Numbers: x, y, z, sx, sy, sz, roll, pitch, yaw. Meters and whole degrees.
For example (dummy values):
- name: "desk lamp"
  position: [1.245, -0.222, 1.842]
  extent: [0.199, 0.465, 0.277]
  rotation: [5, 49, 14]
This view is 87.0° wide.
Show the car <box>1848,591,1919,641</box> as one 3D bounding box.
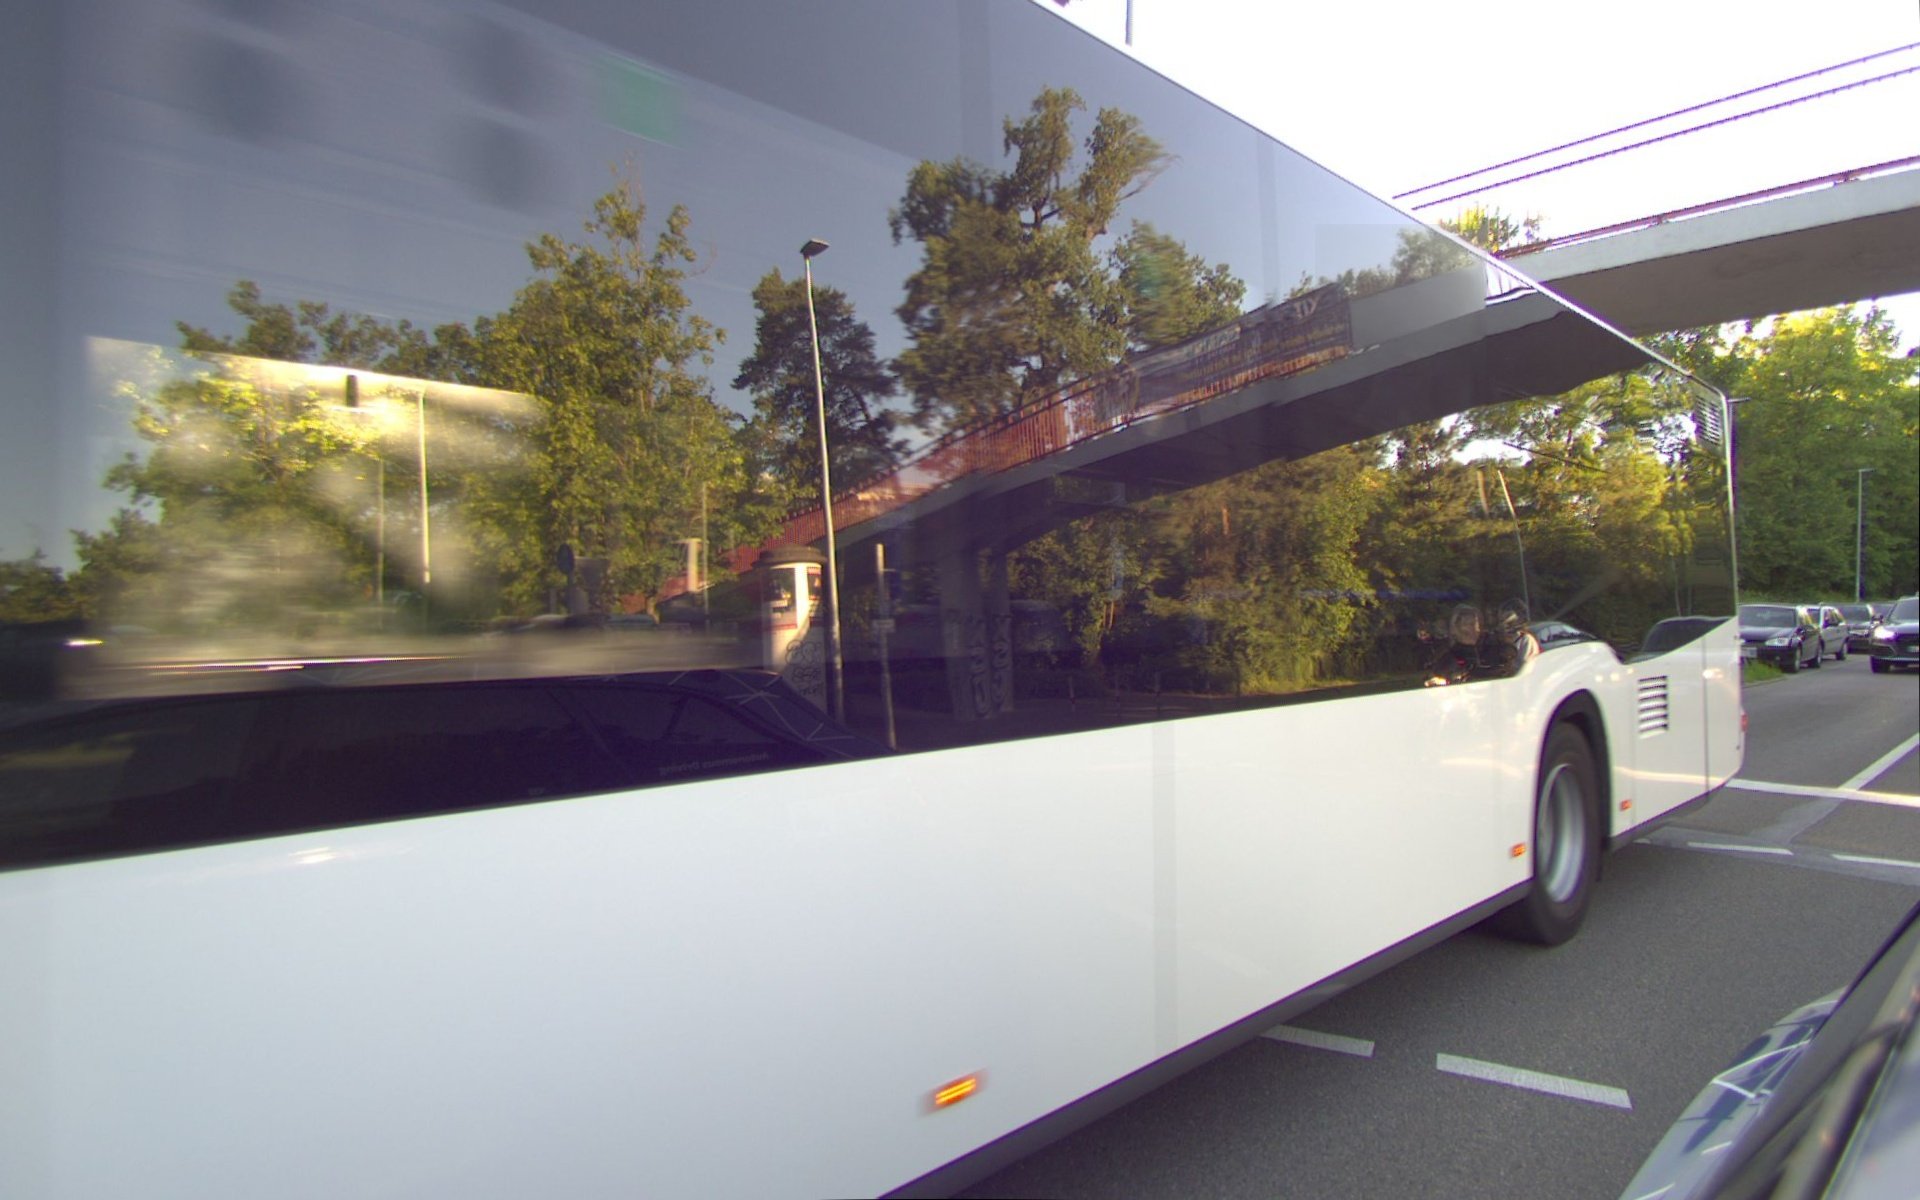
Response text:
- name: "car"
  position: [31.427, 0.492, 34.122]
  extent: [4.065, 1.526, 1.703]
  rotation: [0, 2, -41]

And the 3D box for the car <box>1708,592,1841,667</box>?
- name: "car"
  position: [18.594, 0.603, 23.049]
  extent: [4.054, 1.527, 1.693]
  rotation: [0, 1, -41]

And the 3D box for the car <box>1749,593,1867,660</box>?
- name: "car"
  position: [21.777, 0.617, 25.939]
  extent: [3.907, 1.526, 1.719]
  rotation: [0, 2, -41]

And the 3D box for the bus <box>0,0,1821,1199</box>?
- name: "bus"
  position: [-0.126, -0.167, 3.600]
  extent: [12.056, 3.127, 3.016]
  rotation: [0, -2, -41]

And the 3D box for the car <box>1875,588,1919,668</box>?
- name: "car"
  position: [21.433, 0.549, 21.810]
  extent: [4.286, 1.628, 1.991]
  rotation: [0, -2, -41]

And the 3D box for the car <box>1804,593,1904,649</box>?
- name: "car"
  position: [27.169, 0.574, 30.721]
  extent: [4.081, 1.526, 1.736]
  rotation: [0, 2, -41]

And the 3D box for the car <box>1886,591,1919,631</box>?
- name: "car"
  position: [39.285, 0.438, 41.298]
  extent: [4.319, 1.526, 1.736]
  rotation: [0, 2, -41]
